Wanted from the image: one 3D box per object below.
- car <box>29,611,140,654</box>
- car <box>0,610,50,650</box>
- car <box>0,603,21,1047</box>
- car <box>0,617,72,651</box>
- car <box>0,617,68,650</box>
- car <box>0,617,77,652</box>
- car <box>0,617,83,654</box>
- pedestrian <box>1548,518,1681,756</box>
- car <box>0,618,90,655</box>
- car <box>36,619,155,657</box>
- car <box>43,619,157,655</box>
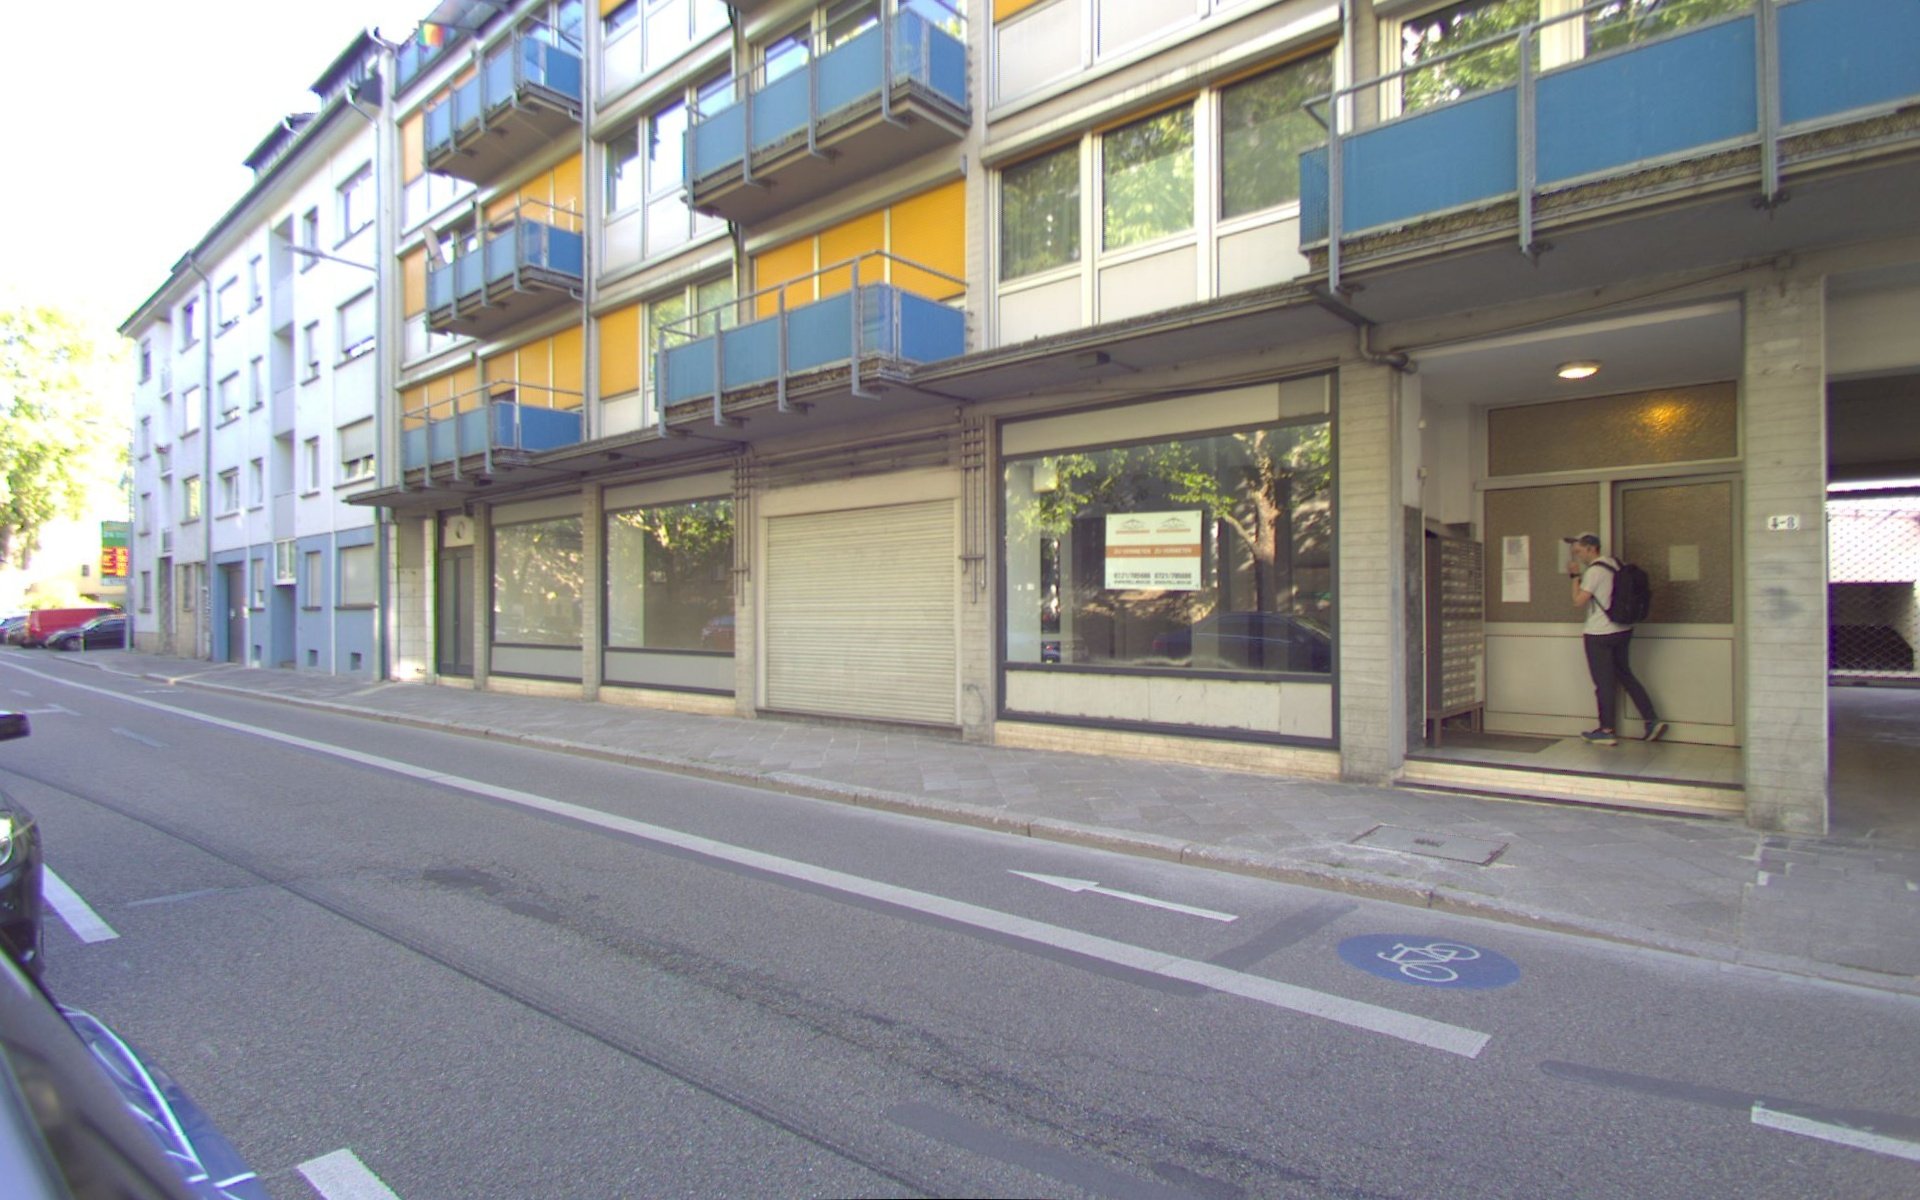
[{"bbox_3d":[-43.431,1.575,50.249,2.000,1.962,3.944,-1,0,42],"label":"car"},{"bbox_3d":[-62.799,1.959,66.782,2.000,2.538,3.944,-1,0,42],"label":"car"},{"bbox_3d":[-5.524,0.808,4.276,4.479,1.512,1.842,-1,-1,41],"label":"car"},{"bbox_3d":[-57.407,2.089,62.280,2.000,1.962,3.944,-1,0,42],"label":"car"},{"bbox_3d":[-59.207,2.112,64.013,2.000,1.962,3.944,-1,0,42],"label":"car"},{"bbox_3d":[-55.602,2.065,60.562,2.000,1.962,3.944,-1,0,42],"label":"car"},{"bbox_3d":[-53.521,2.038,58.609,2.000,1.962,3.944,-1,0,42],"label":"car"},{"bbox_3d":[5.443,0.295,8.456,0.780,1.894,0.578,-1,0,18],"label":"pedestrian"},{"bbox_3d":[-51.570,2.013,56.827,2.000,1.962,3.944,-1,0,42],"label":"car"},{"bbox_3d":[-39.757,1.727,46.602,2.000,1.564,3.944,-1,0,42],"label":"car"},{"bbox_3d":[-41.176,1.745,48.524,2.000,1.564,3.944,-1,0,42],"label":"car"}]
